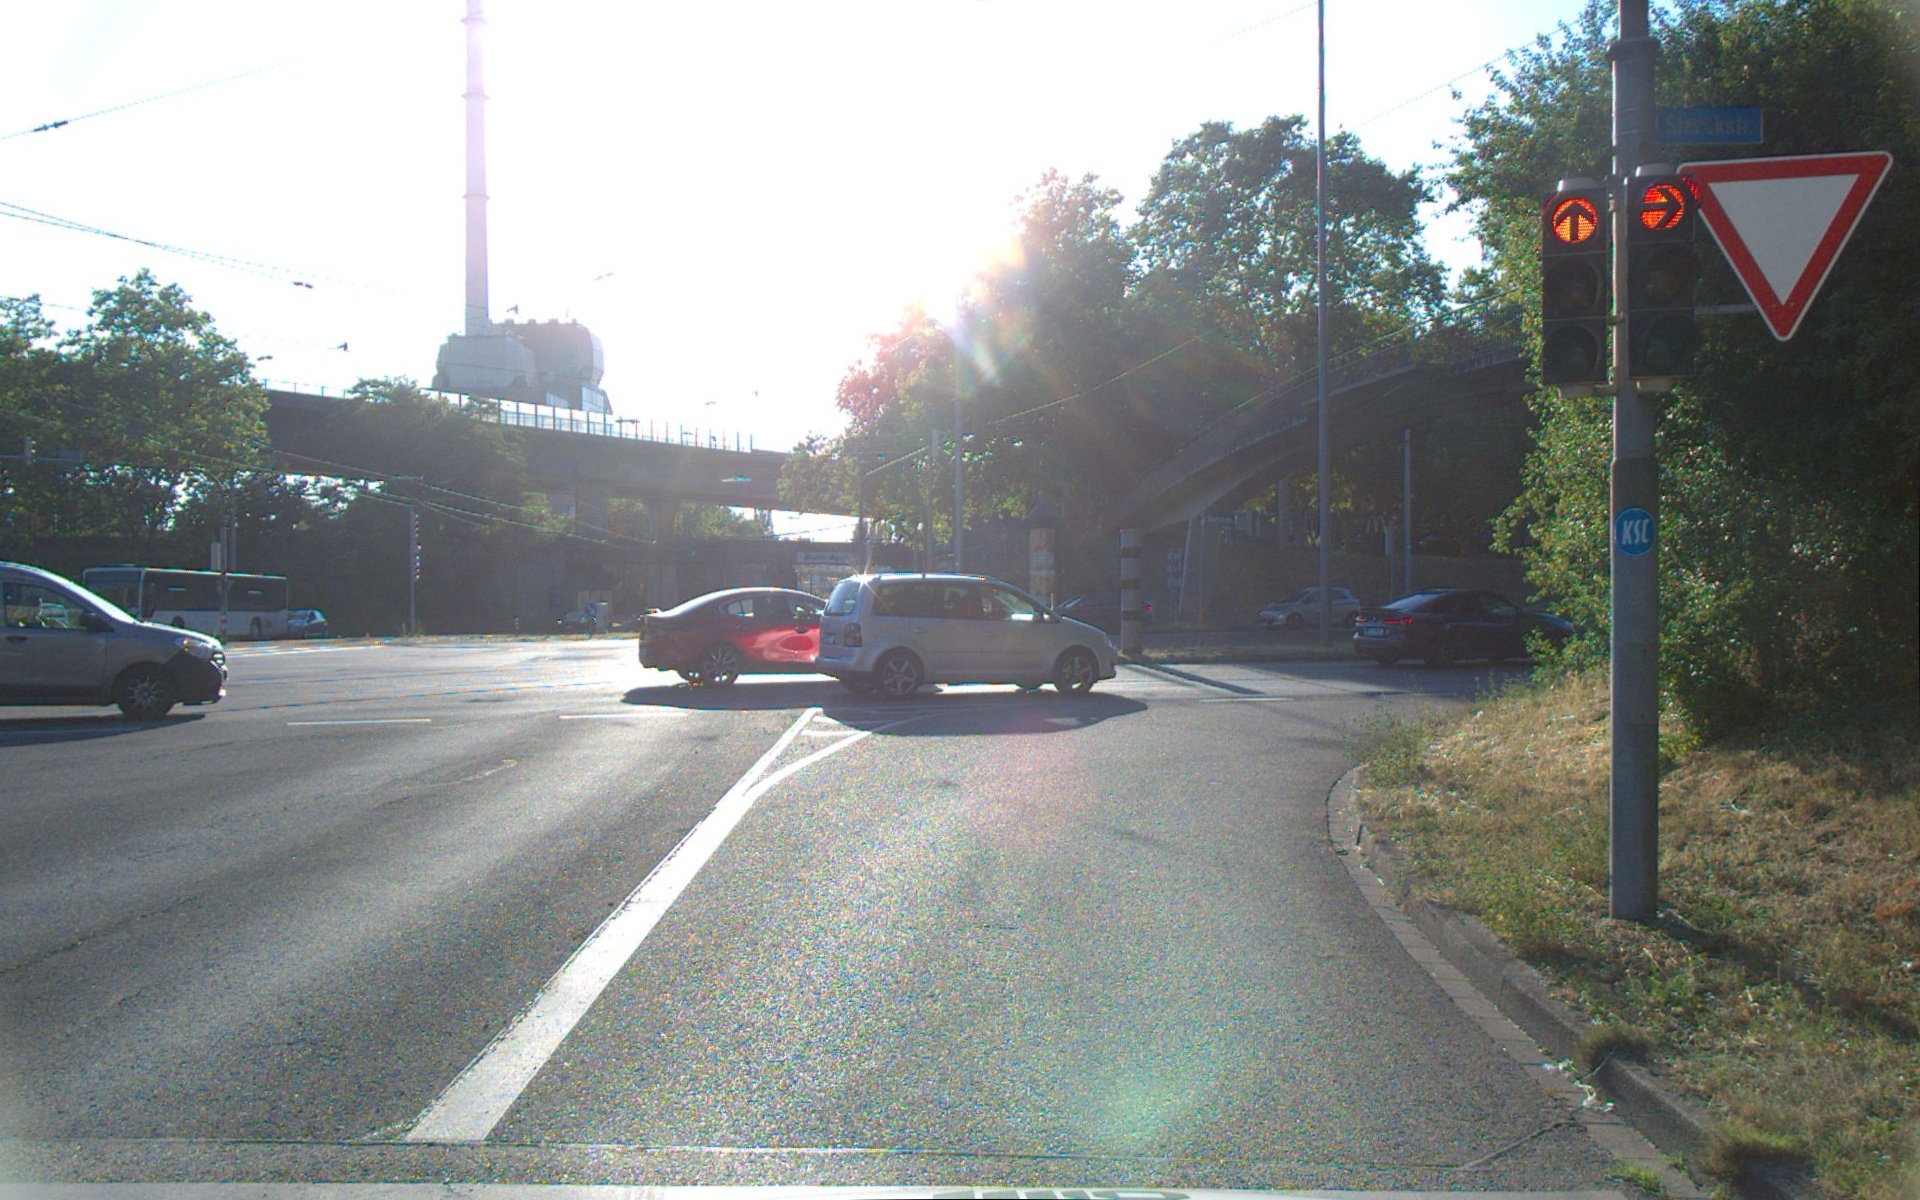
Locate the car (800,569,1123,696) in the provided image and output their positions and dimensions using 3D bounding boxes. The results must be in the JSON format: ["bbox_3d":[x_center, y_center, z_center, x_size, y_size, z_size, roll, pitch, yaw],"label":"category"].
[{"bbox_3d":[0.026,0.438,23.128,4.213,1.659,1.683,1,0,-22],"label":"car"}]

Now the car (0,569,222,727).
[{"bbox_3d":[-10.736,0.514,18.696,4.342,1.708,1.681,1,0,-25],"label":"car"}]

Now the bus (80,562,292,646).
[{"bbox_3d":[-32.004,0.298,69.259,2.491,3.185,12.919,-1,-1,2],"label":"bus"}]

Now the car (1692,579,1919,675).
[{"bbox_3d":[15.404,0.466,29.293,4.684,1.602,1.683,1,0,-22],"label":"car"}]

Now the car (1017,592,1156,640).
[{"bbox_3d":[4.361,0.547,57.093,4.505,1.602,1.685,1,0,-18],"label":"car"}]

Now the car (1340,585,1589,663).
[{"bbox_3d":[9.491,0.441,31.102,4.413,1.393,1.683,1,0,-21],"label":"car"}]

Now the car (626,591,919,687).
[{"bbox_3d":[-2.873,0.577,25.375,4.213,1.388,1.613,1,0,-22],"label":"car"}]

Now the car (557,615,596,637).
[{"bbox_3d":[-25.719,1.730,111.065,1.573,1.444,4.008,1,0,1],"label":"car"}]

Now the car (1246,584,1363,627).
[{"bbox_3d":[12.608,0.210,60.558,3.935,1.538,1.684,1,0,-20],"label":"car"}]

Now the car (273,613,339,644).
[{"bbox_3d":[-31.702,1.363,80.255,1.573,1.444,4.008,1,0,1],"label":"car"}]
